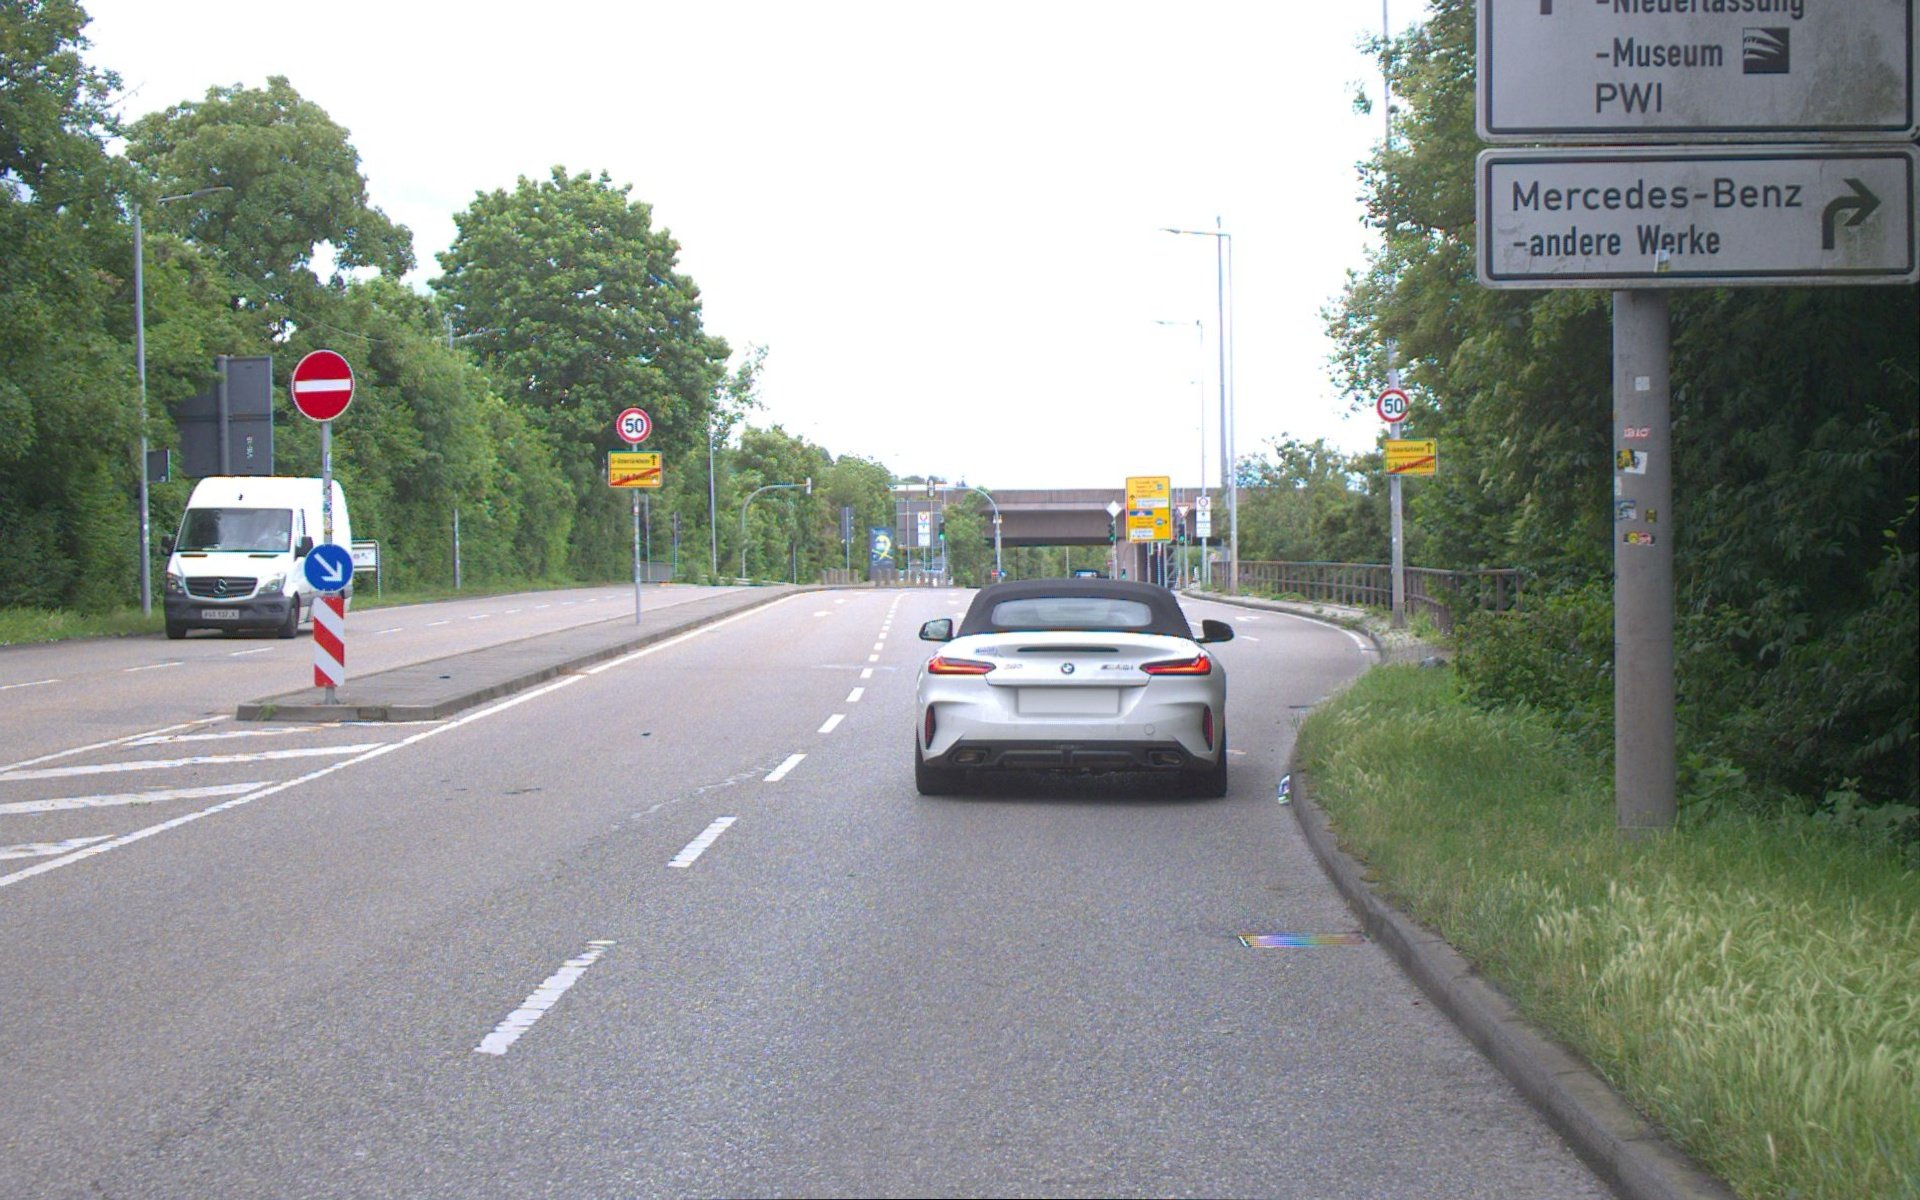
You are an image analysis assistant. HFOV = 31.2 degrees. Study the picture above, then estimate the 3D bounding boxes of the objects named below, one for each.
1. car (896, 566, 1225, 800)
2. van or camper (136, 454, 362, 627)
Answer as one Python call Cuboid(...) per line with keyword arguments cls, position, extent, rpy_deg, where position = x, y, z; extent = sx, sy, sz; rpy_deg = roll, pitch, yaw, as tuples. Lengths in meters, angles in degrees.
Cuboid(cls="car", position=(0.604, 0.459, 21.623), extent=(1.875, 1.305, 3.873), rpy_deg=(0, 1, 1))
Cuboid(cls="van or camper", position=(-11.379, -0.956, 55.572), extent=(2.282, 2.546, 6.860), rpy_deg=(2, 1, -1))
